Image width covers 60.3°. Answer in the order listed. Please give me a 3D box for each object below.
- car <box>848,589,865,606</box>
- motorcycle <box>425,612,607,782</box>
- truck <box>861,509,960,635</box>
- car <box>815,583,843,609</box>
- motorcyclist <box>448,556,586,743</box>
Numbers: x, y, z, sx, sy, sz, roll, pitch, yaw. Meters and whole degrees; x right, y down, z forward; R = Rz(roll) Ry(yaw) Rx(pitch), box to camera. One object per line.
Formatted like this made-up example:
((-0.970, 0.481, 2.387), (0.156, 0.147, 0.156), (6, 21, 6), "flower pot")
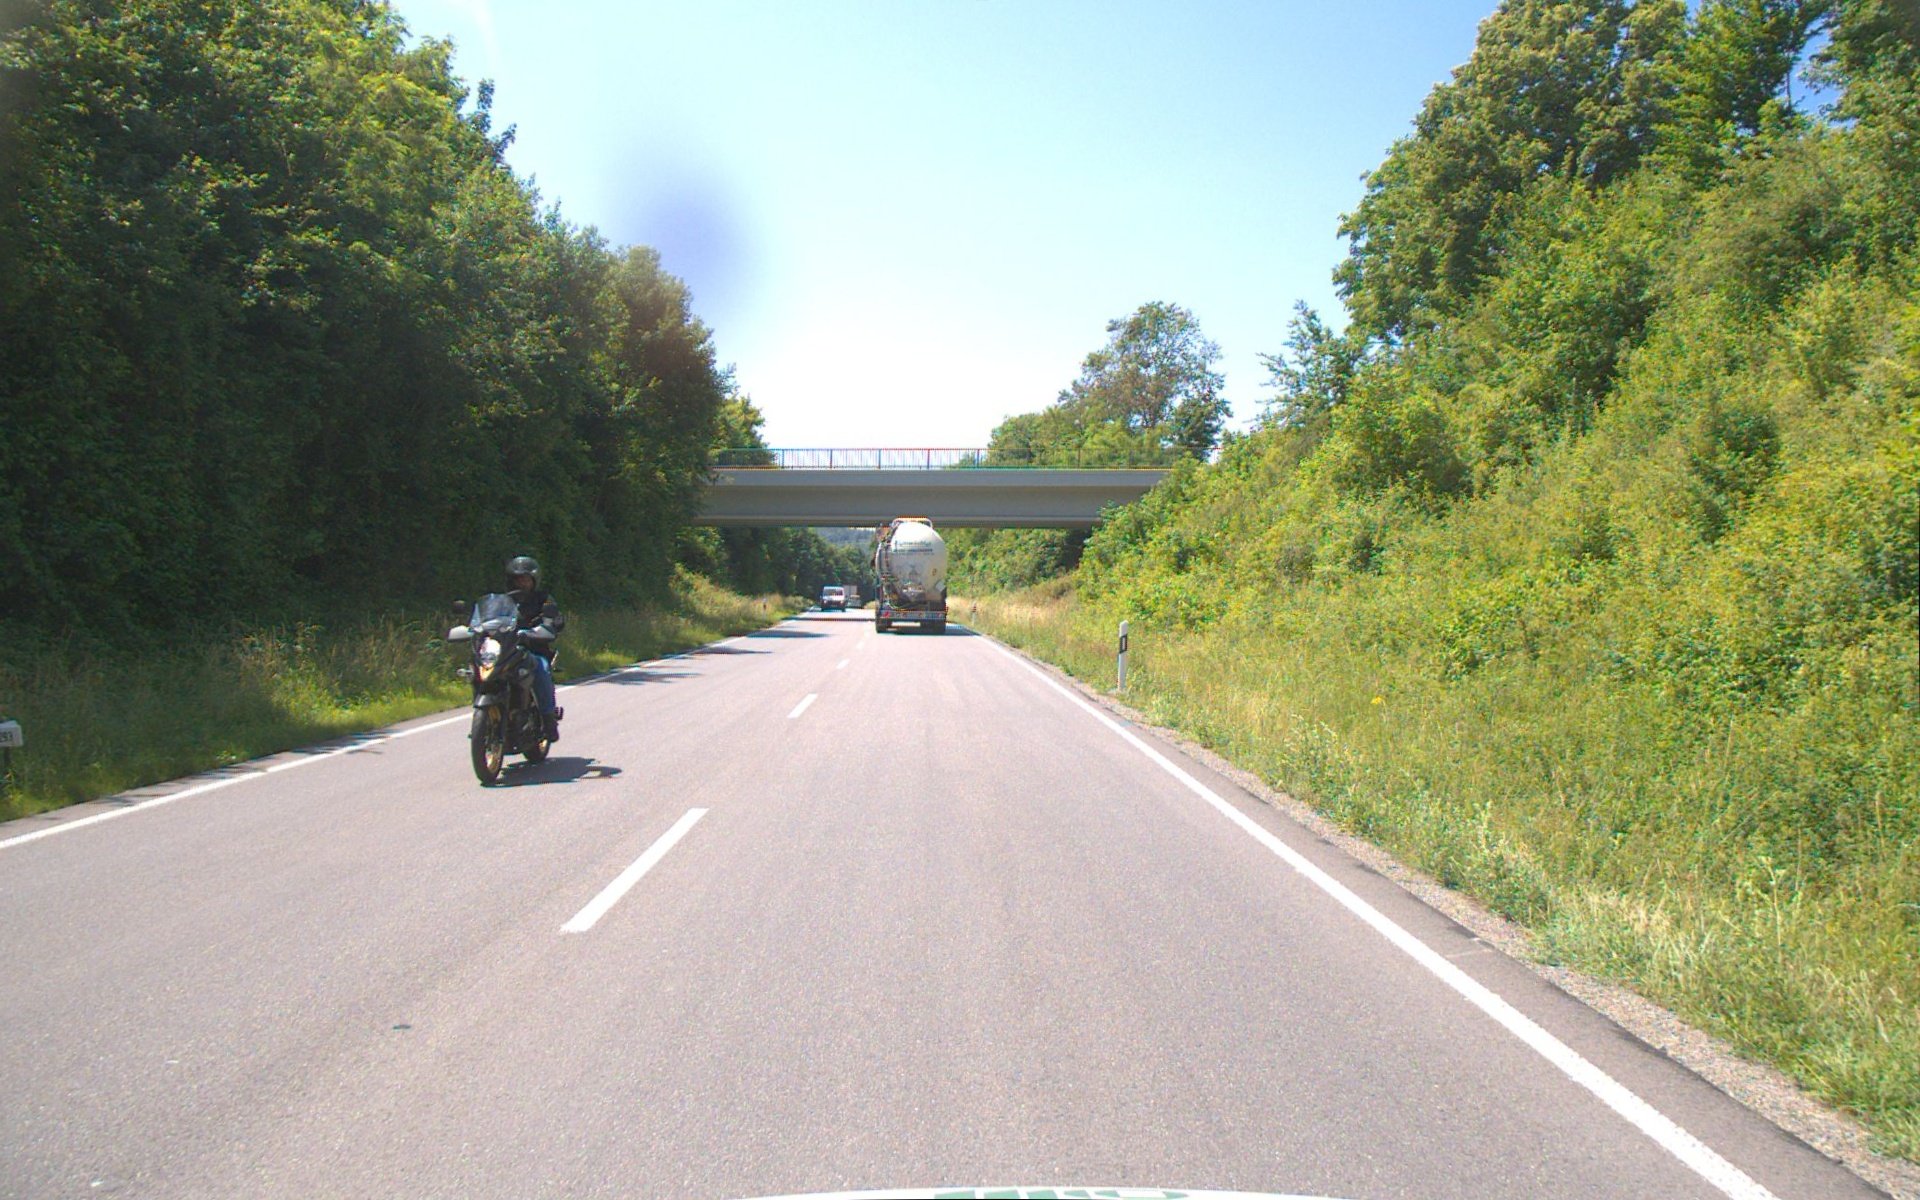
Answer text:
((-13.083, -0.327, 208.629), (1.955, 2.049, 3.996), (1, 0, -5), "car")
((-3.593, 0.736, 13.645), (0.846, 1.242, 2.442), (0, 0, 0), "motorcycle")
((-2.143, -0.862, 63.755), (2.989, 4.068, 15.622), (3, -1, -4), "truck")
((-10.069, -0.330, 127.354), (1.893, 1.939, 5.324), (1, 0, -3), "car")
((-3.589, 0.383, 13.493), (0.832, 1.463, 1.073), (0, 0, 0), "motorcyclist")
